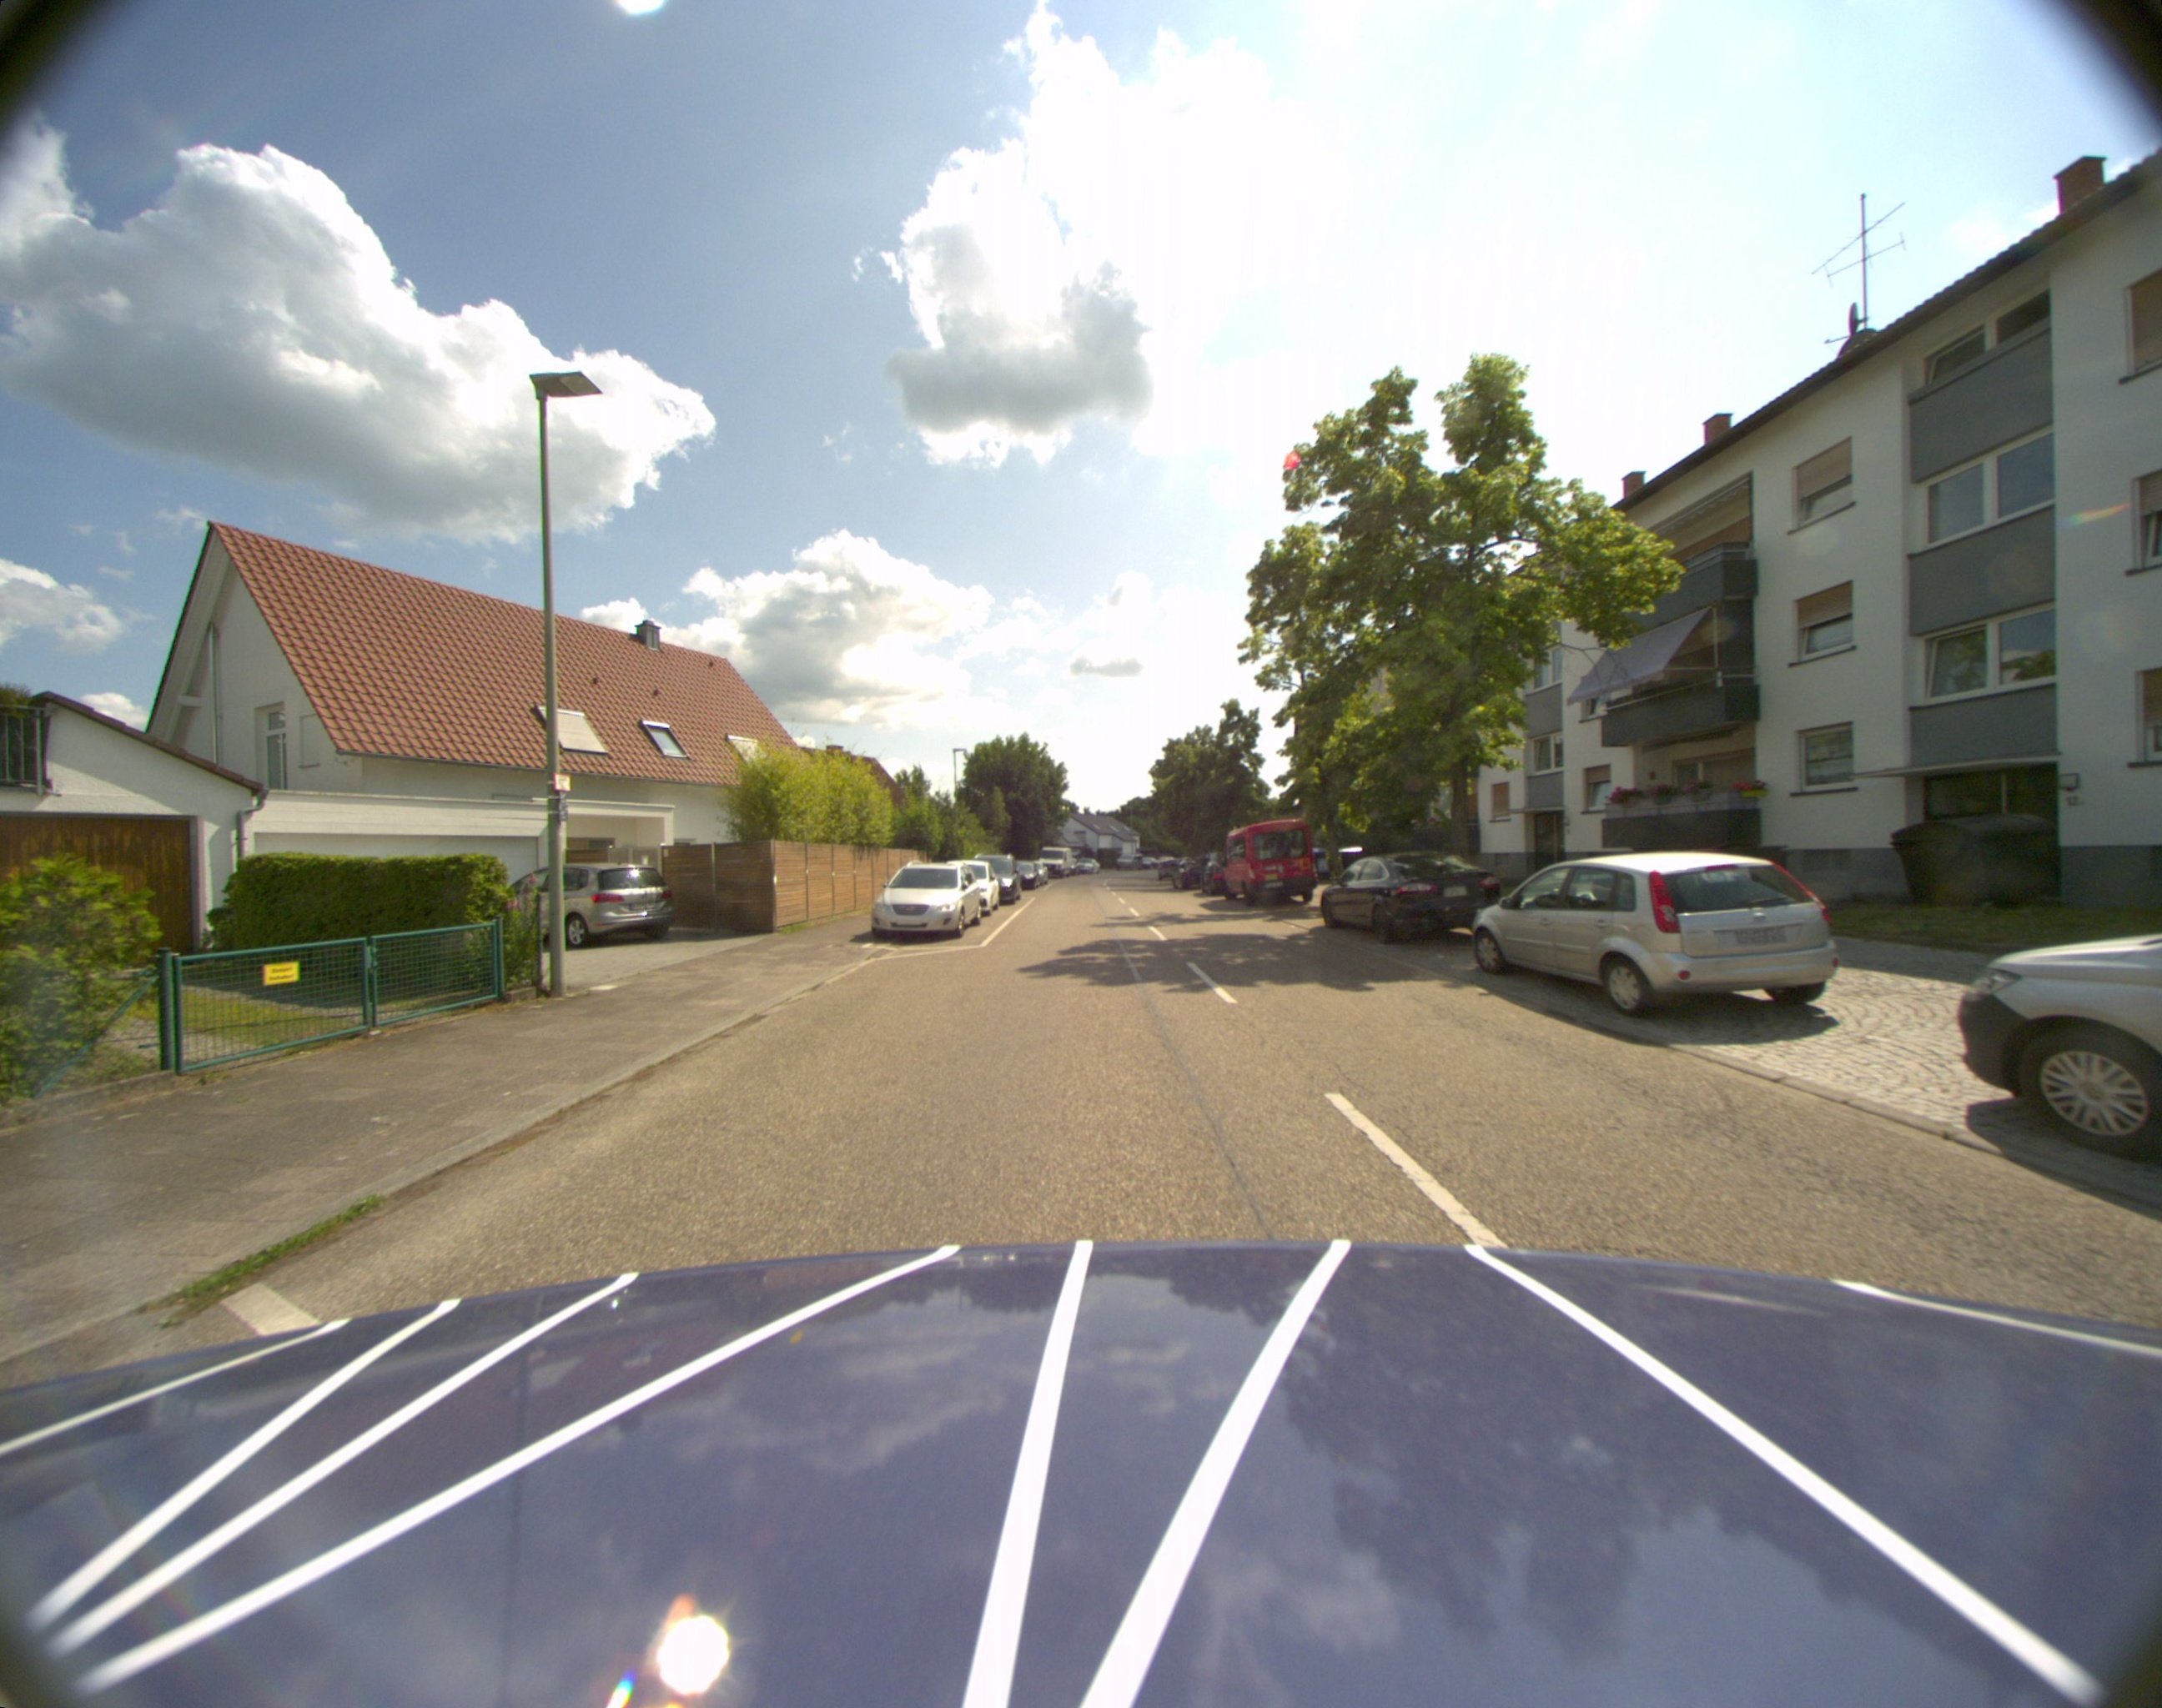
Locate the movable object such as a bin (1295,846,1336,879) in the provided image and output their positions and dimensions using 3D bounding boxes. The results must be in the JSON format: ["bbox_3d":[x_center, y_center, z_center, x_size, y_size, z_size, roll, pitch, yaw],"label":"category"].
[{"bbox_3d":[10.760,0.393,34.923,1.299,1.477,1.305,-2,0,-6],"label":"movable object such as a bin"}]

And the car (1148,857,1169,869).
[{"bbox_3d":[10.329,1.161,100.958,1.783,1.477,4.287,2,1,19],"label":"car"}]

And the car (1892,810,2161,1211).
[{"bbox_3d":[5.848,0.688,2.321,1.814,1.795,4.490,-5,0,-1],"label":"car"}]

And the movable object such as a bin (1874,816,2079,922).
[{"bbox_3d":[12.892,0.256,11.017,1.274,1.374,1.266,-4,-5,-1],"label":"movable object such as a bin"}]

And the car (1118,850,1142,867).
[{"bbox_3d":[5.716,0.479,88.621,1.838,1.855,4.287,2,0,16],"label":"car"}]

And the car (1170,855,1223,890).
[{"bbox_3d":[5.623,0.864,37.524,1.735,1.468,4.630,-4,0,-2],"label":"car"}]

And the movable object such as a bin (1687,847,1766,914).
[{"bbox_3d":[12.247,0.503,14.441,0.752,1.206,0.806,-2,-1,0],"label":"movable object such as a bin"}]

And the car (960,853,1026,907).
[{"bbox_3d":[-3.069,0.859,27.387,1.896,1.763,4.708,-1,0,-1],"label":"car"}]

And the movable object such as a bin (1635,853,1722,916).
[{"bbox_3d":[11.371,0.580,14.478,0.956,1.142,0.825,-2,-1,0],"label":"movable object such as a bin"}]

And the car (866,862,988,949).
[{"bbox_3d":[-3.163,0.996,16.457,1.749,1.543,4.291,-2,0,0],"label":"car"}]

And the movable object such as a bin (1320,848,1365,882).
[{"bbox_3d":[11.111,0.474,32.334,1.299,1.377,1.291,-2,0,-6],"label":"movable object such as a bin"}]

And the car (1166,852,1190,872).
[{"bbox_3d":[8.169,0.656,63.999,1.757,1.479,3.685,-5,-1,9],"label":"car"}]

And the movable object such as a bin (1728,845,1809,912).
[{"bbox_3d":[13.037,0.459,14.430,0.752,1.206,0.806,-2,-1,0],"label":"movable object such as a bin"}]

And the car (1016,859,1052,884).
[{"bbox_3d":[-2.766,1.034,45.395,1.684,1.428,4.063,0,0,3],"label":"car"}]

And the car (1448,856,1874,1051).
[{"bbox_3d":[5.777,0.840,8.286,1.626,1.461,3.925,-4,1,1],"label":"car"}]

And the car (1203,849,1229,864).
[{"bbox_3d":[16.038,0.276,90.108,1.819,1.714,3.689,-1,0,29],"label":"car"}]

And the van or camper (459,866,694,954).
[{"bbox_3d":[-10.028,1.022,15.147,3.990,1.521,2.003,-1,0,23],"label":"van or camper"}]

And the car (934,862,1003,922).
[{"bbox_3d":[-3.139,1.014,21.784,1.446,1.496,3.670,-3,0,-2],"label":"car"}]

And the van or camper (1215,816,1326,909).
[{"bbox_3d":[6.070,0.257,25.239,2.153,2.534,6.224,-4,0,2],"label":"van or camper"}]

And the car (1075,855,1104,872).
[{"bbox_3d":[0.879,0.894,73.108,1.817,1.513,4.269,0,0,14],"label":"car"}]

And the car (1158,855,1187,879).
[{"bbox_3d":[6.422,0.895,53.823,1.758,1.410,4.001,-5,0,4],"label":"car"}]

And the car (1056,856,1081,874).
[{"bbox_3d":[-1.067,0.918,66.602,1.683,1.513,4.064,0,0,7],"label":"car"}]

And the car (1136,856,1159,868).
[{"bbox_3d":[8.329,1.043,94.885,1.841,1.410,3.895,-1,0,22],"label":"car"}]

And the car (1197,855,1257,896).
[{"bbox_3d":[5.969,0.837,31.565,1.692,1.428,4.464,-4,0,2],"label":"car"}]

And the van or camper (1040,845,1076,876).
[{"bbox_3d":[-1.757,0.511,59.577,1.972,2.345,5.762,0,0,7],"label":"van or camper"}]

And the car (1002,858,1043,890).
[{"bbox_3d":[-2.972,0.971,39.069,1.732,1.496,4.295,0,1,1],"label":"car"}]

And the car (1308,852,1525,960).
[{"bbox_3d":[5.806,0.787,13.882,1.814,1.485,4.596,-5,0,0],"label":"car"}]
